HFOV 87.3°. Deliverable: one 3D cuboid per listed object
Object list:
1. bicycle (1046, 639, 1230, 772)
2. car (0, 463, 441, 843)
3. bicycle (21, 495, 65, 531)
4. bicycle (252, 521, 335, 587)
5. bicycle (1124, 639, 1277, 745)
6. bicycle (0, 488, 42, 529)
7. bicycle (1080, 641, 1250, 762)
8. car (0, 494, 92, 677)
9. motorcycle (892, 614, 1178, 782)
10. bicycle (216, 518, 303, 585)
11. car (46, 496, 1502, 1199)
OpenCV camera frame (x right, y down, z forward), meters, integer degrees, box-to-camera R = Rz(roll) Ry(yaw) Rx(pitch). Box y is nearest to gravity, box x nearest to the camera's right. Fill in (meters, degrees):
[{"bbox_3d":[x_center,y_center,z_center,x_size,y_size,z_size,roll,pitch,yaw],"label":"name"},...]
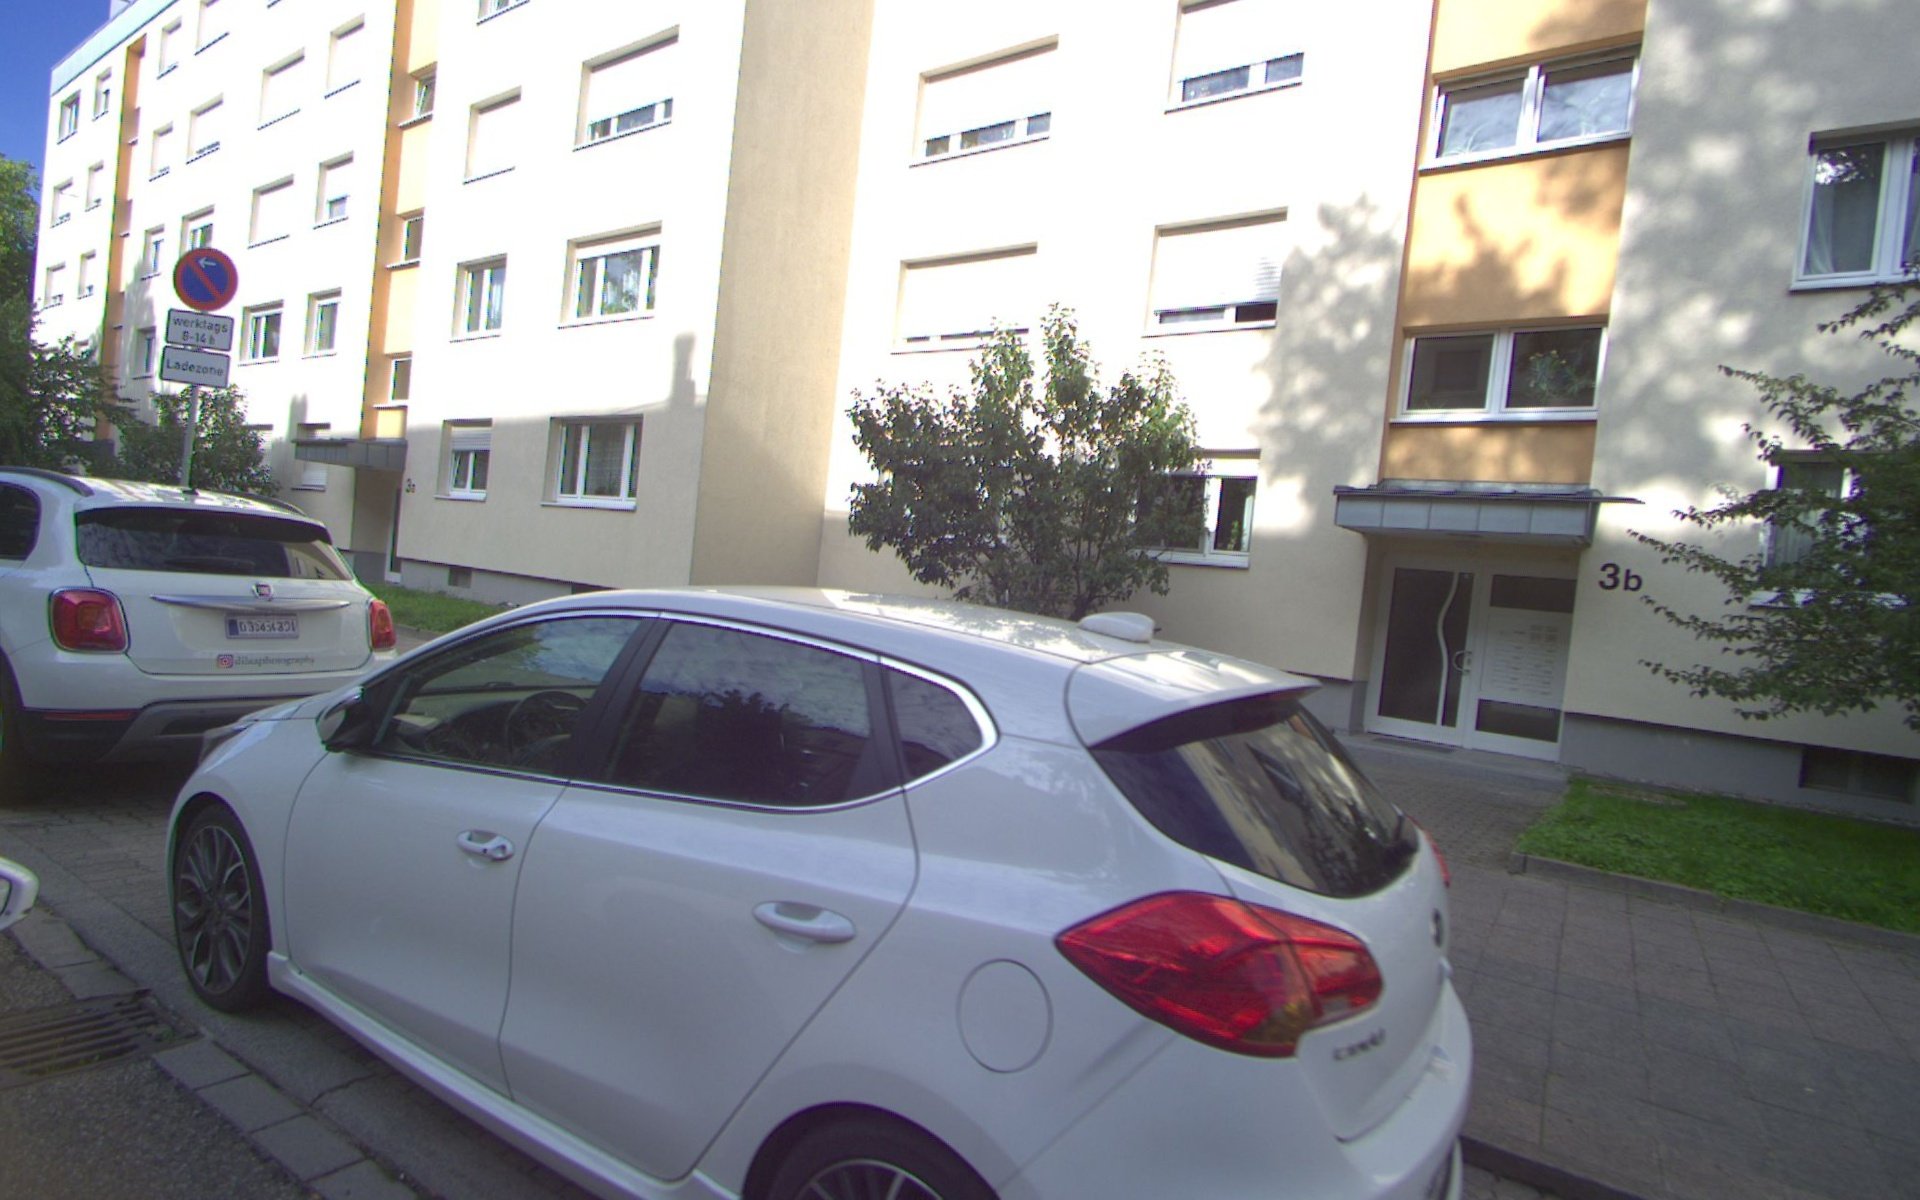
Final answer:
[{"bbox_3d":[1.594,0.922,9.130,1.491,0.954,0.459,7,2,32],"label":"bicycle"},{"bbox_3d":[-5.184,0.077,6.036,4.048,1.601,1.729,6,2,31],"label":"car"},{"bbox_3d":[-28.245,-2.678,30.980,1.527,0.976,0.478,7,1,30],"label":"bicycle"},{"bbox_3d":[-13.584,-0.946,20.483,2.173,1.129,0.529,7,2,33],"label":"bicycle"},{"bbox_3d":[2.649,0.989,11.151,1.491,0.939,0.459,7,2,32],"label":"bicycle"},{"bbox_3d":[-28.522,-2.772,30.505,1.527,1.069,0.522,7,1,30],"label":"bicycle"},{"bbox_3d":[1.991,0.962,9.860,1.491,0.939,0.459,7,2,32],"label":"bicycle"},{"bbox_3d":[-9.170,-0.283,8.616,3.614,1.416,1.516,6,2,31],"label":"car"},{"bbox_3d":[0.598,0.782,8.684,2.354,1.059,0.630,7,3,32],"label":"motorcycle"},{"bbox_3d":[-13.918,-0.977,19.960,2.173,1.130,0.597,7,3,33],"label":"bicycle"},{"bbox_3d":[-1.010,0.616,3.204,4.567,1.507,1.728,7,2,34],"label":"car"}]
